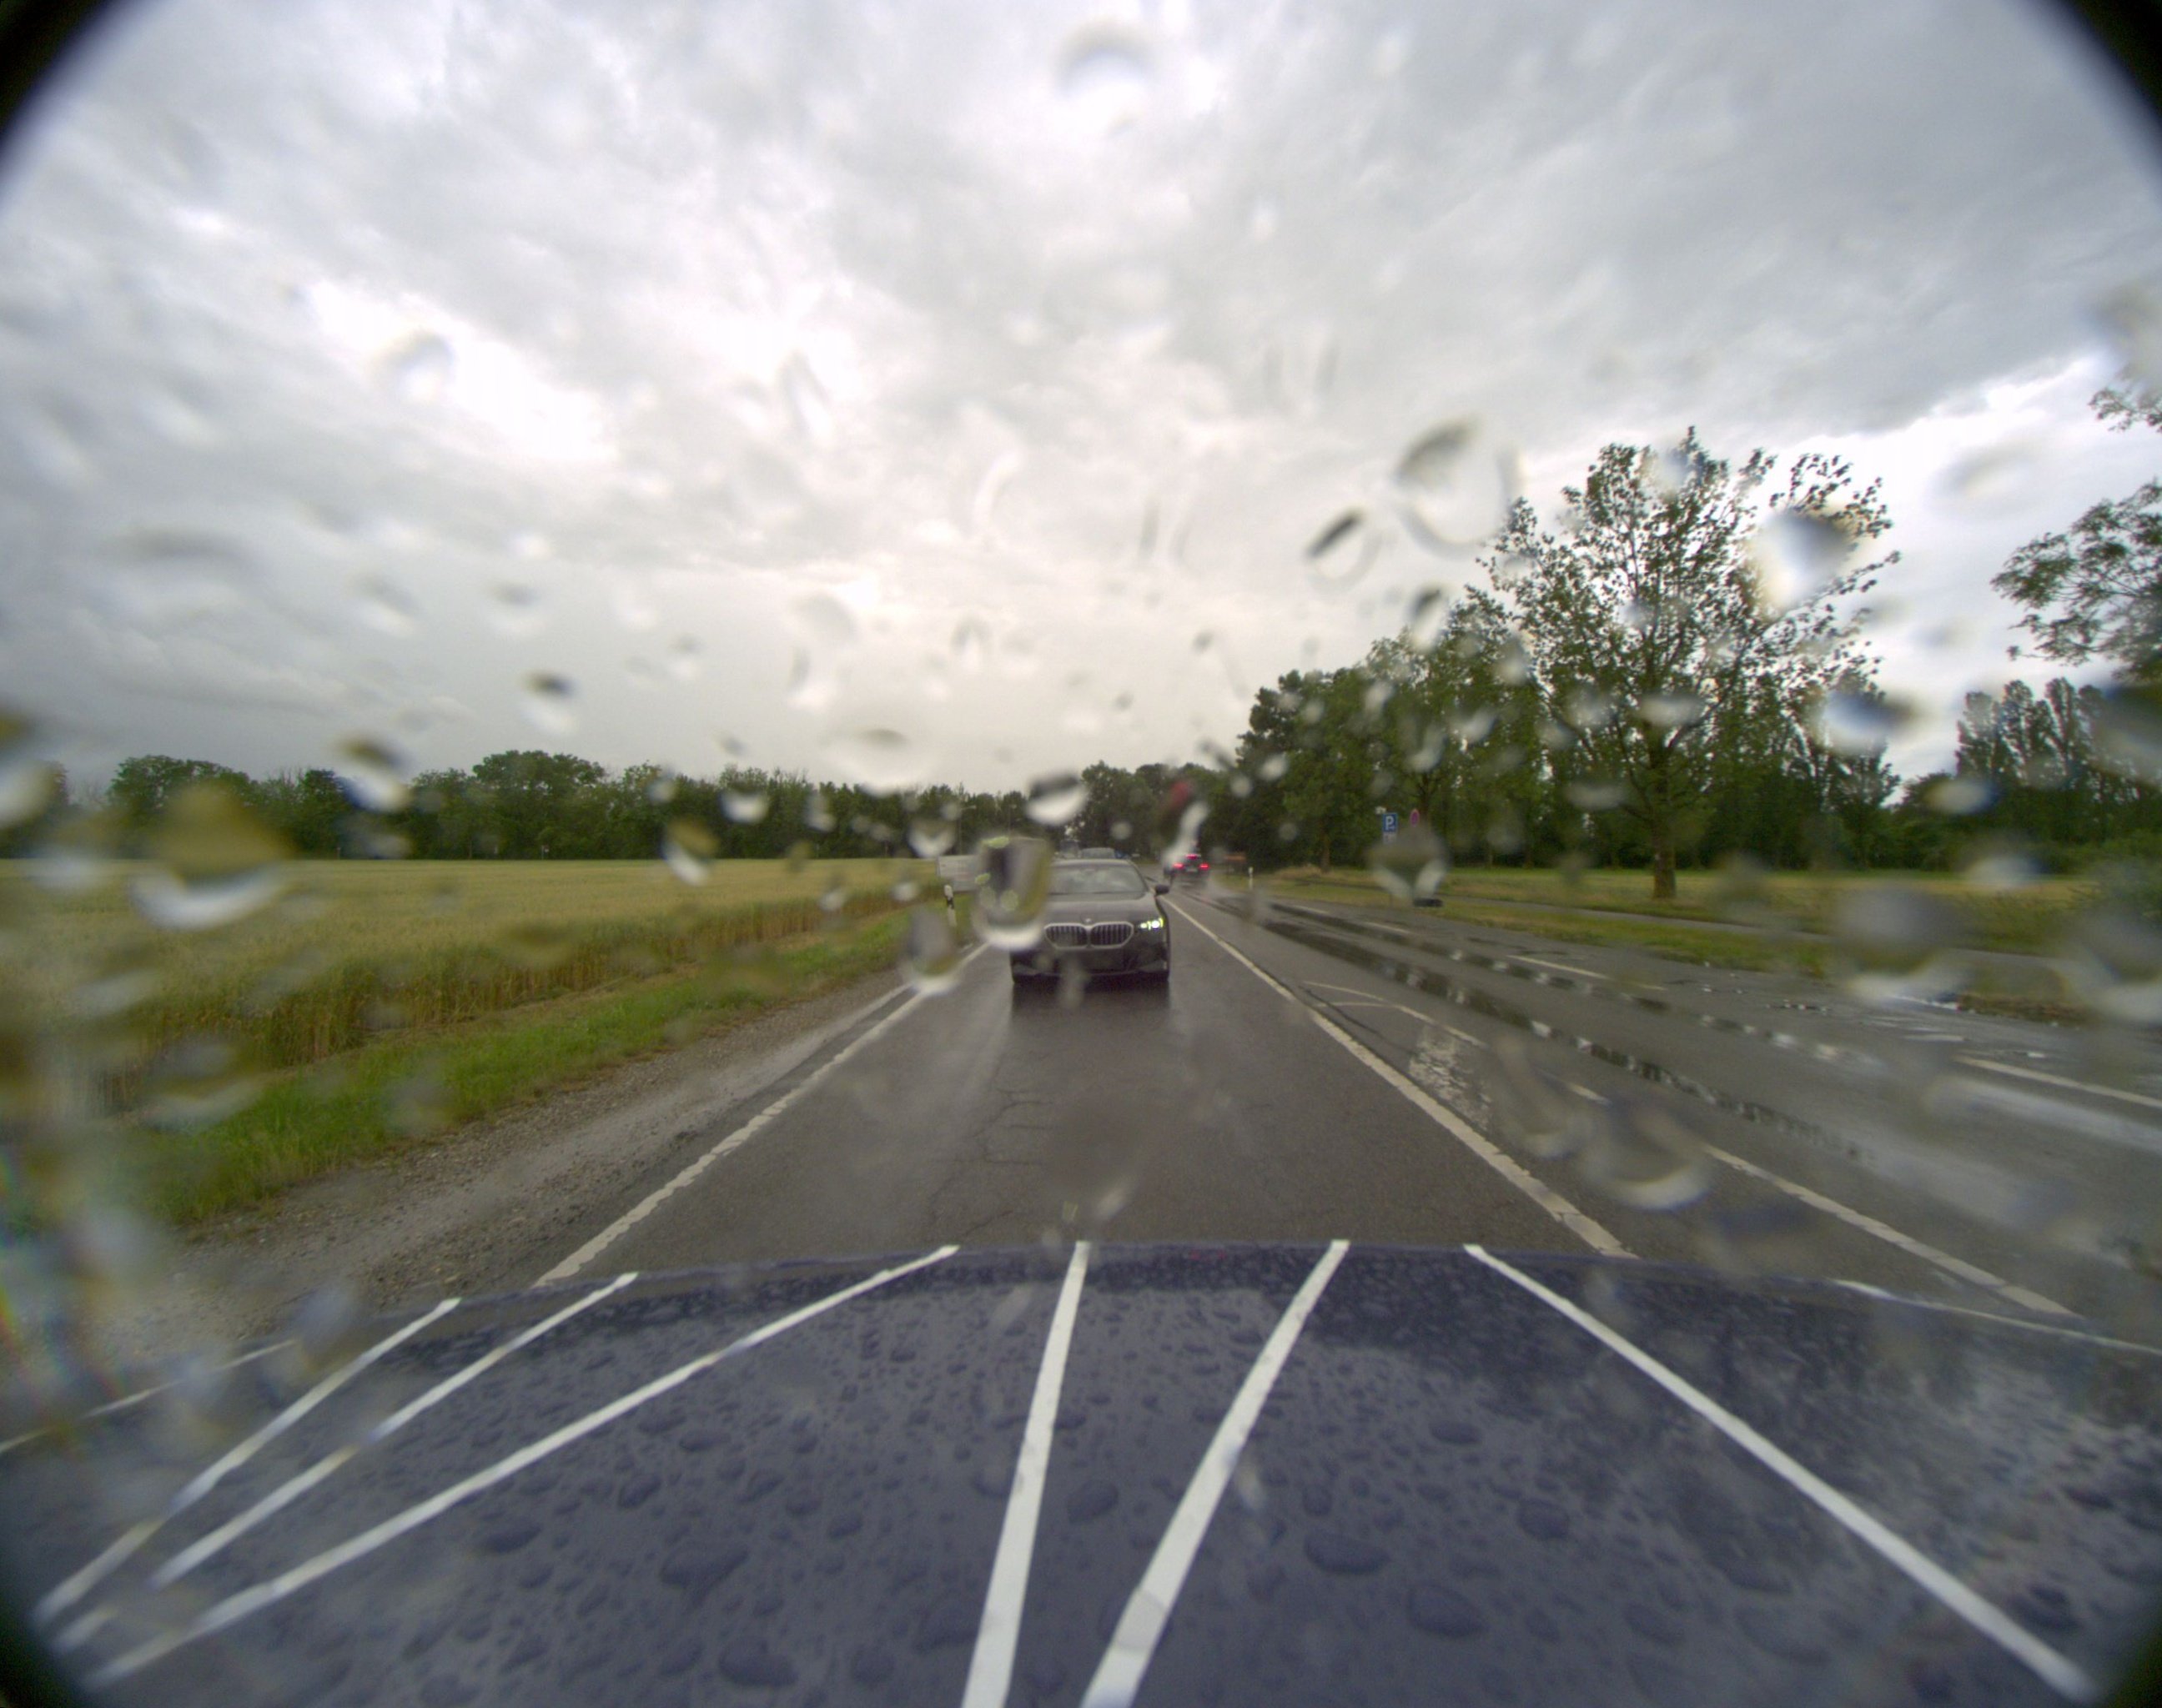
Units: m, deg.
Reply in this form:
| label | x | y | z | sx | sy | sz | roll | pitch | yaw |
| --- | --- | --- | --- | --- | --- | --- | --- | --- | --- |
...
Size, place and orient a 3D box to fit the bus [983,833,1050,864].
| label | x | y | z | sx | sy | sz | roll | pitch | yaw |
| --- | --- | --- | --- | --- | --- | --- | --- | --- | --- |
| bus | -8.035 | -0.727 | 97.419 | 2.991 | 3.665 | 14.314 | 1 | 0 | 19 |

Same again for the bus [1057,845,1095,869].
| label | x | y | z | sx | sy | sz | roll | pitch | yaw |
| --- | --- | --- | --- | --- | --- | --- | --- | --- | --- |
| bus | -0.580 | 0.393 | 116.124 | 2.853 | 3.417 | 14.307 | 1 | 0 | 12 |

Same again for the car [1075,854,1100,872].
| label | x | y | z | sx | sy | sz | roll | pitch | yaw |
| --- | --- | --- | --- | --- | --- | --- | --- | --- | --- |
| car | 0.528 | 0.773 | 67.808 | 1.892 | 1.522 | 4.500 | -1 | 0 | -4 |

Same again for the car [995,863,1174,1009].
| label | x | y | z | sx | sy | sz | roll | pitch | yaw |
| --- | --- | --- | --- | --- | --- | --- | --- | --- | --- |
| car | 0.101 | 0.913 | 10.227 | 1.891 | 1.484 | 4.036 | -1 | 0 | 2 |

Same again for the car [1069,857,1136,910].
| label | x | y | z | sx | sy | sz | roll | pitch | yaw |
| --- | --- | --- | --- | --- | --- | --- | --- | --- | --- |
| car | 0.688 | 0.892 | 24.216 | 1.891 | 1.482 | 4.193 | -2 | -1 | 2 |

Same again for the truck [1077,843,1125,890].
| label | x | y | z | sx | sy | sz | roll | pitch | yaw |
| --- | --- | --- | --- | --- | --- | --- | --- | --- | --- |
| truck | 0.907 | 0.571 | 38.085 | 2.076 | 2.050 | 5.769 | -3 | 0 | -1 |

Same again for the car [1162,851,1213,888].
| label | x | y | z | sx | sy | sz | roll | pitch | yaw |
| --- | --- | --- | --- | --- | --- | --- | --- | --- | --- |
| car | 5.217 | 0.718 | 37.616 | 1.921 | 1.622 | 4.357 | 2 | 1 | 1 |

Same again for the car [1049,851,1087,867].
| label | x | y | z | sx | sy | sz | roll | pitch | yaw |
| --- | --- | --- | --- | --- | --- | --- | --- | --- | --- |
| car | -1.367 | 0.540 | 77.728 | 1.896 | 1.522 | 4.491 | -2 | 0 | -30 |
